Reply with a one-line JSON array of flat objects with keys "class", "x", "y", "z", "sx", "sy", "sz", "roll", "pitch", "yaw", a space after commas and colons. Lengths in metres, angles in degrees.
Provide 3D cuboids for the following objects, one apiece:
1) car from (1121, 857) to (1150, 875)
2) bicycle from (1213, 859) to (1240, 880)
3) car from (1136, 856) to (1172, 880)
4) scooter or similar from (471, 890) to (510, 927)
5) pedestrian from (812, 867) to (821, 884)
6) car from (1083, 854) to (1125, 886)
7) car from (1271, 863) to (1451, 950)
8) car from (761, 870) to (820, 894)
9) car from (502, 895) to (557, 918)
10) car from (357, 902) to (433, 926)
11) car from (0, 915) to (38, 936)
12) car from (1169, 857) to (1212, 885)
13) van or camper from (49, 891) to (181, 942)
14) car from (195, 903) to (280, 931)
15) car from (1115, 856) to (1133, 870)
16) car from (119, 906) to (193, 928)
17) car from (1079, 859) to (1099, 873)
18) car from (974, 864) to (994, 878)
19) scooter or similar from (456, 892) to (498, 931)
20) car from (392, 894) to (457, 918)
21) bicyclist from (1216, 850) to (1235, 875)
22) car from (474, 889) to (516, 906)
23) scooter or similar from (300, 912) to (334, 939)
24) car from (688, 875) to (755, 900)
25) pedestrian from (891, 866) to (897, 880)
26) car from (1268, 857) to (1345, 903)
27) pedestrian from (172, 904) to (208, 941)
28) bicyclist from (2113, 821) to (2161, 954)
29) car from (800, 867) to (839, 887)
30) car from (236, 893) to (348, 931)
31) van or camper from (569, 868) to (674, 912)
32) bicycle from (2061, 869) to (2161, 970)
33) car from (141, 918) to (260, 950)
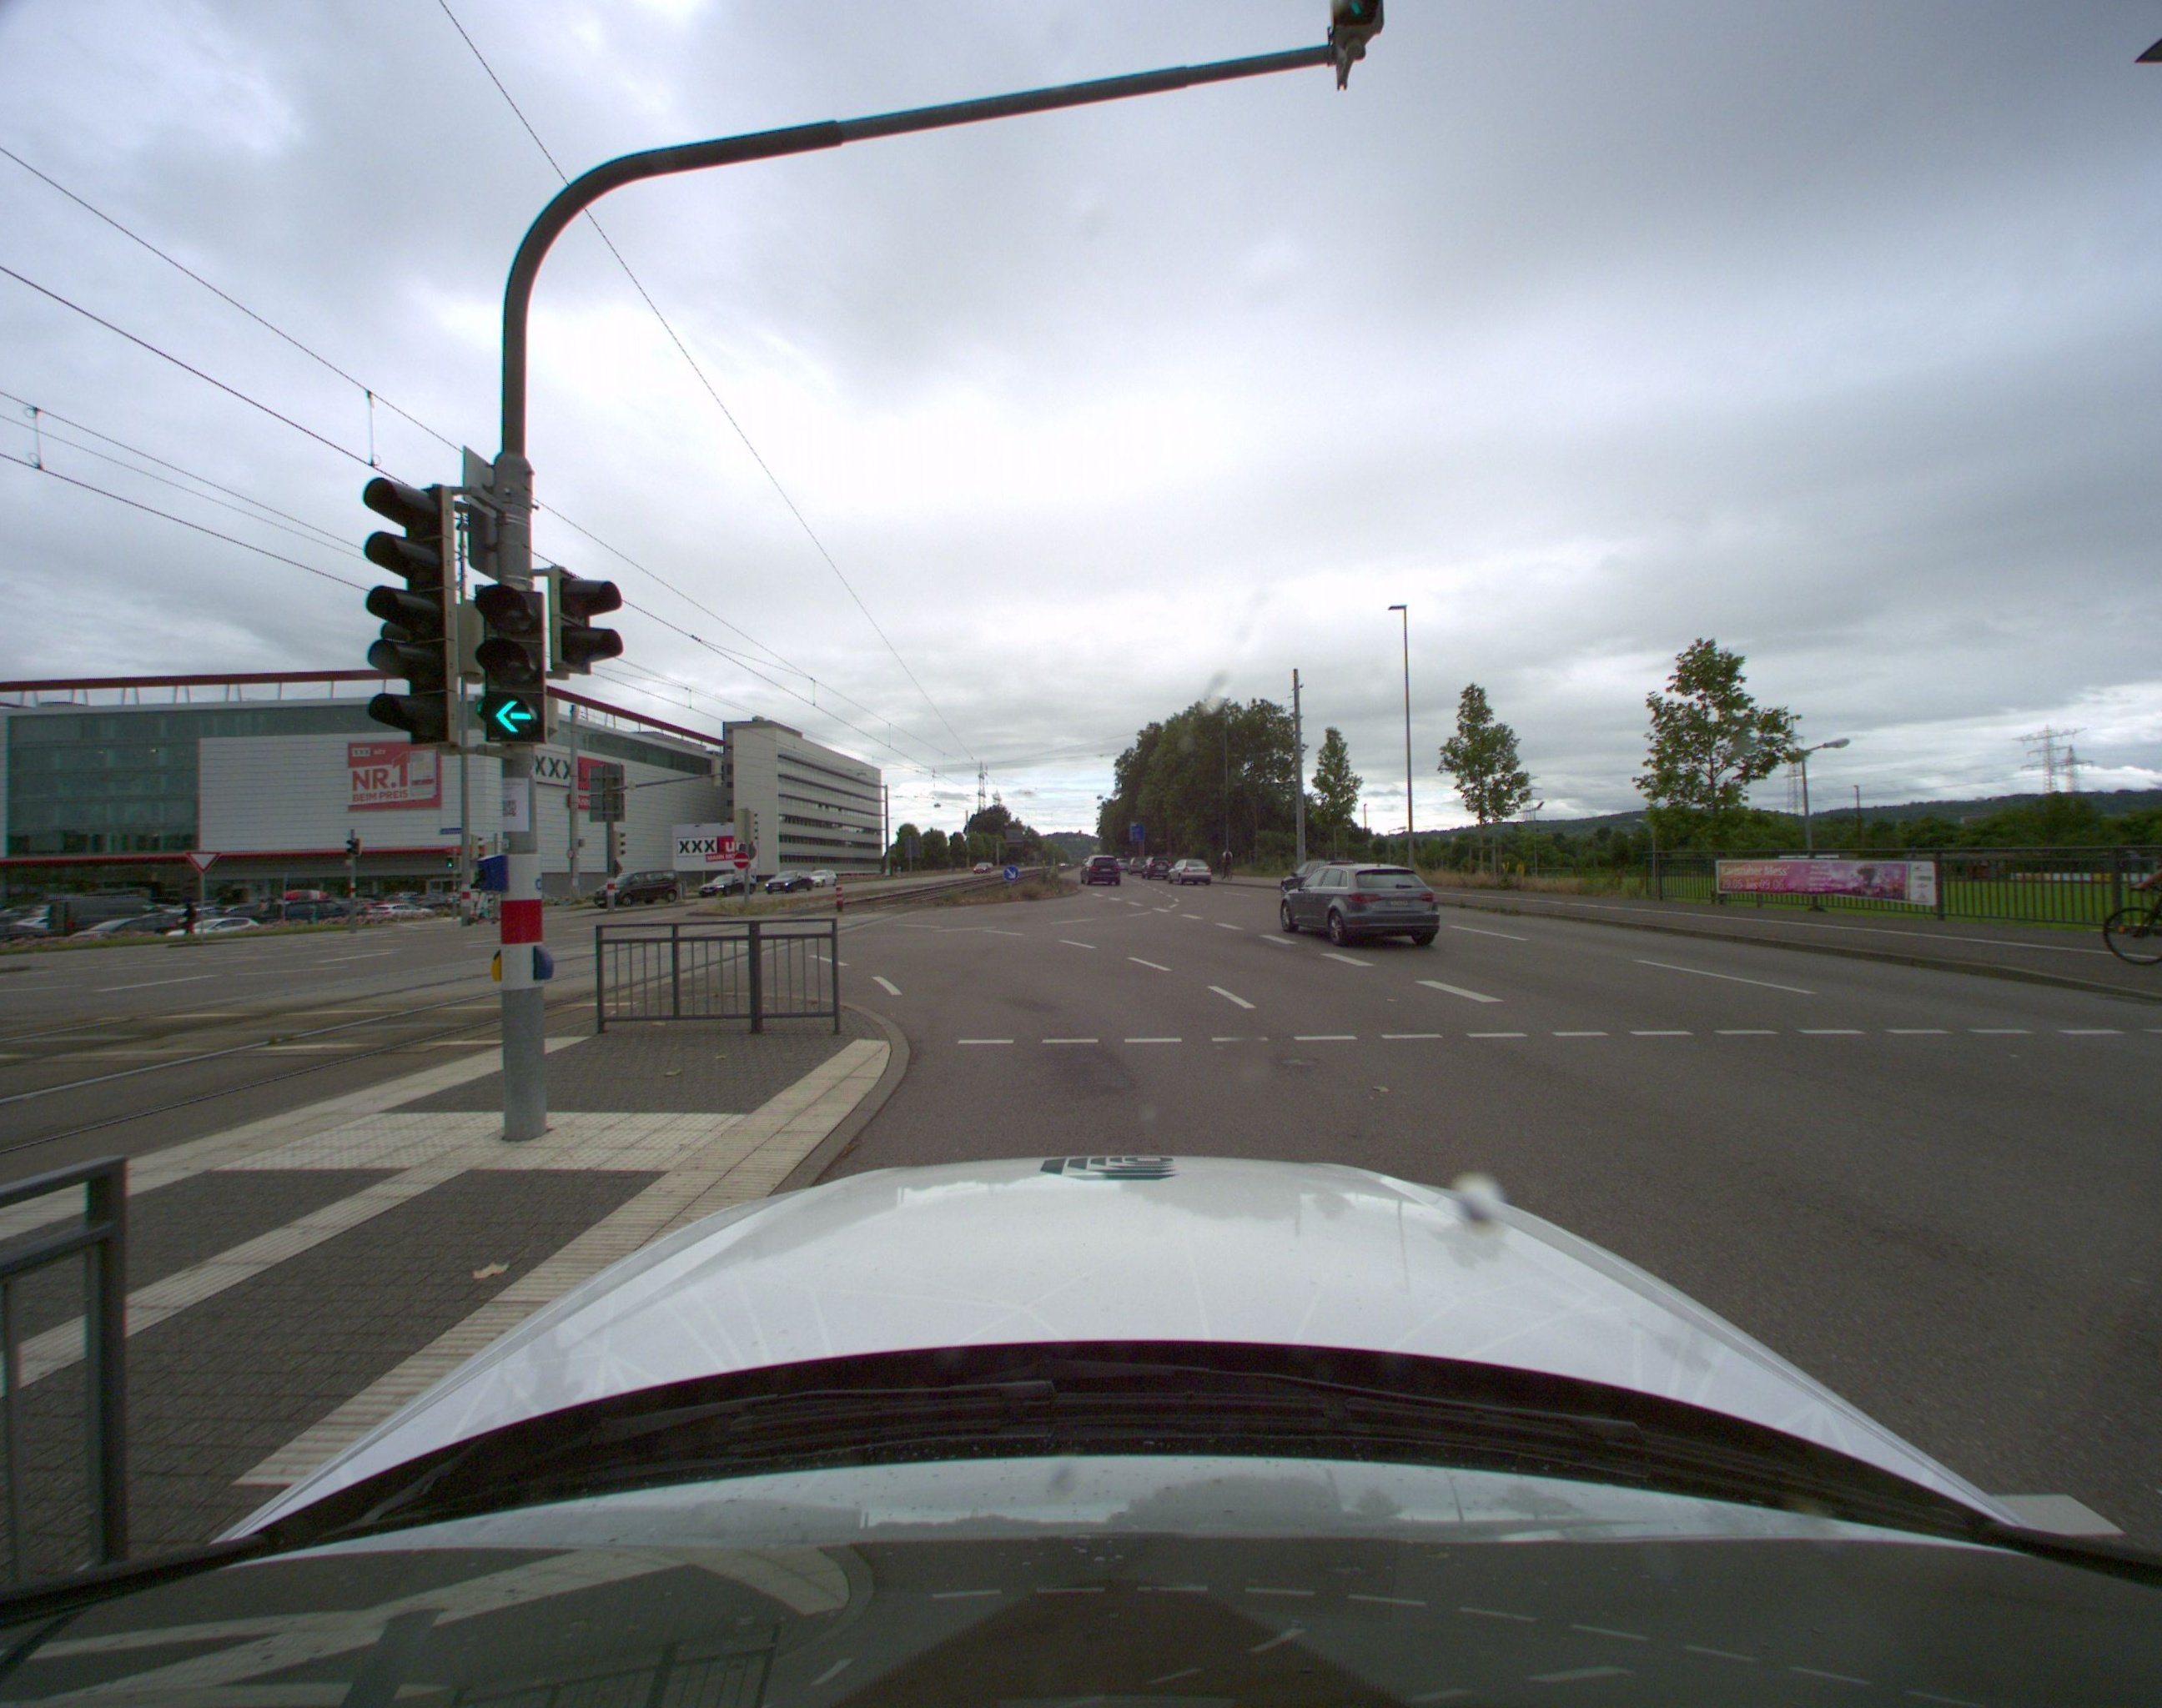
[{"class": "car", "x": 4.915, "y": 1.063, "z": 73.976, "sx": 1.854, "sy": 1.562, "sz": 4.308, "roll": 1, "pitch": -1, "yaw": -6}, {"class": "bicycle", "x": 8.701, "y": 0.917, "z": 48.801, "sx": 0.816, "sy": 1.185, "sz": 2.515, "roll": -3, "pitch": 1, "yaw": -9}, {"class": "car", "x": 5.059, "y": 0.990, "z": 56.918, "sx": 1.853, "sy": 1.562, "sz": 4.310, "roll": 1, "pitch": -1, "yaw": -4}, {"class": "scooter or similar", "x": -21.258, "y": 1.952, "z": 29.346, "sx": 0.317, "sy": 1.256, "sz": 1.120, "roll": -4, "pitch": -1, "yaw": 17}, {"class": "pedestrian", "x": -27.119, "y": 2.197, "z": 83.464, "sx": 0.701, "sy": 1.791, "sz": 0.636, "roll": 1, "pitch": -2, "yaw": -35}, {"class": "car", "x": 1.186, "y": 0.883, "z": 44.798, "sx": 1.829, "sy": 1.636, "sz": 4.309, "roll": -1, "pitch": -1, "yaw": -5}, {"class": "car", "x": 5.111, "y": 0.879, "z": 15.480, "sx": 1.735, "sy": 1.402, "sz": 4.069, "roll": -1, "pitch": -1, "yaw": -5}, {"class": "car", "x": -18.846, "y": 1.788, "z": 53.091, "sx": 1.821, "sy": 1.464, "sz": 4.217, "roll": -1, "pitch": -1, "yaw": 9}, {"class": "car", "x": -47.145, "y": 4.467, "z": 69.701, "sx": 1.873, "sy": 1.666, "sz": 4.000, "roll": -2, "pitch": -1, "yaw": 1}, {"class": "car", "x": -50.101, "y": 4.360, "z": 59.614, "sx": 1.731, "sy": 1.476, "sz": 4.217, "roll": -3, "pitch": -1, "yaw": 5}, {"class": "car", "x": -81.759, "y": 5.403, "z": 60.912, "sx": 1.725, "sy": 1.469, "sz": 4.259, "roll": 0, "pitch": -2, "yaw": 5}, {"class": "car", "x": 6.114, "y": 0.938, "z": 45.834, "sx": 1.725, "sy": 1.509, "sz": 3.626, "roll": 0, "pitch": 0, "yaw": -5}, {"class": "van or camper", "x": -64.855, "y": 4.129, "z": 54.848, "sx": 1.971, "sy": 2.984, "sz": 5.415, "roll": -3, "pitch": -1, "yaw": 12}, {"class": "car", "x": -62.262, "y": 4.628, "z": 60.221, "sx": 1.870, "sy": 1.670, "sz": 4.006, "roll": -3, "pitch": -1, "yaw": 5}, {"class": "car", "x": 4.920, "y": 1.032, "z": 92.666, "sx": 1.809, "sy": 1.481, "sz": 3.670, "roll": 0, "pitch": -1, "yaw": -1}, {"class": "car", "x": -80.989, "y": 5.506, "z": 71.378, "sx": 1.821, "sy": 1.655, "sz": 4.001, "roll": -3, "pitch": -2, "yaw": 2}, {"class": "car", "x": 0.838, "y": 1.238, "z": 85.736, "sx": 1.743, "sy": 1.431, "sz": 3.369, "roll": 0, "pitch": 0, "yaw": -5}, {"class": "car", "x": -13.006, "y": 2.265, "z": 109.575, "sx": 1.986, "sy": 1.728, "sz": 4.002, "roll": -1, "pitch": -1, "yaw": 2}, {"class": "scooter or similar", "x": -20.847, "y": 1.970, "z": 28.124, "sx": 0.459, "sy": 1.256, "sz": 1.023, "roll": -5, "pitch": -1, "yaw": 17}, {"class": "car", "x": -56.686, "y": 4.436, "z": 70.392, "sx": 1.849, "sy": 1.781, "sz": 4.230, "roll": -2, "pitch": 0, "yaw": 6}, {"class": "bicyclist", "x": 8.650, "y": 0.490, "z": 48.750, "sx": 0.816, "sy": 1.478, "sz": 0.997, "roll": -3, "pitch": 1, "yaw": -9}, {"class": "car", "x": -62.184, "y": 4.628, "z": 86.483, "sx": 1.638, "sy": 1.560, "sz": 3.621, "roll": -1, "pitch": 0, "yaw": 5}, {"class": "scooter or similar", "x": -36.947, "y": 3.449, "z": 39.396, "sx": 1.170, "sy": 1.233, "sz": 0.342, "roll": -2, "pitch": -3, "yaw": -35}, {"class": "car", "x": -23.361, "y": 2.162, "z": 53.150, "sx": 1.951, "sy": 1.464, "sz": 4.332, "roll": -1, "pitch": -1, "yaw": 9}, {"class": "pedestrian", "x": -23.504, "y": 2.397, "z": 102.325, "sx": 0.538, "sy": 1.654, "sz": 0.619, "roll": -2, "pitch": -2, "yaw": 41}, {"class": "car", "x": 8.120, "y": 0.900, "z": 29.697, "sx": 1.728, "sy": 1.479, "sz": 4.321, "roll": 0, "pitch": 1, "yaw": 2}, {"class": "pedestrian", "x": -40.895, "y": 3.148, "z": 37.392, "sx": 0.712, "sy": 1.597, "sz": 0.784, "roll": -5, "pitch": -1, "yaw": 1}, {"class": "bicyclist", "x": 12.420, "y": 0.374, "z": 9.046, "sx": 0.688, "sy": 1.452, "sz": 0.967, "roll": -4, "pitch": 3, "yaw": -1}, {"class": "car", "x": -21.986, "y": 1.930, "z": 68.527, "sx": 1.720, "sy": 1.539, "sz": 4.049, "roll": -1, "pitch": -1, "yaw": 3}, {"class": "car", "x": -52.864, "y": 3.854, "z": 54.736, "sx": 2.103, "sy": 2.165, "sz": 5.064, "roll": -3, "pitch": -1, "yaw": 8}, {"class": "van or camper", "x": -25.434, "y": 1.942, "z": 45.290, "sx": 2.099, "sy": 2.013, "sz": 4.777, "roll": -5, "pitch": 0, "yaw": 19}, {"class": "bicycle", "x": 12.484, "y": 0.772, "z": 9.288, "sx": 0.545, "sy": 1.045, "sz": 1.708, "roll": -4, "pitch": 3, "yaw": -1}, {"class": "car", "x": -47.974, "y": 4.333, "z": 44.494, "sx": 1.862, "sy": 1.446, "sz": 4.122, "roll": 0, "pitch": -1, "yaw": 2}]
